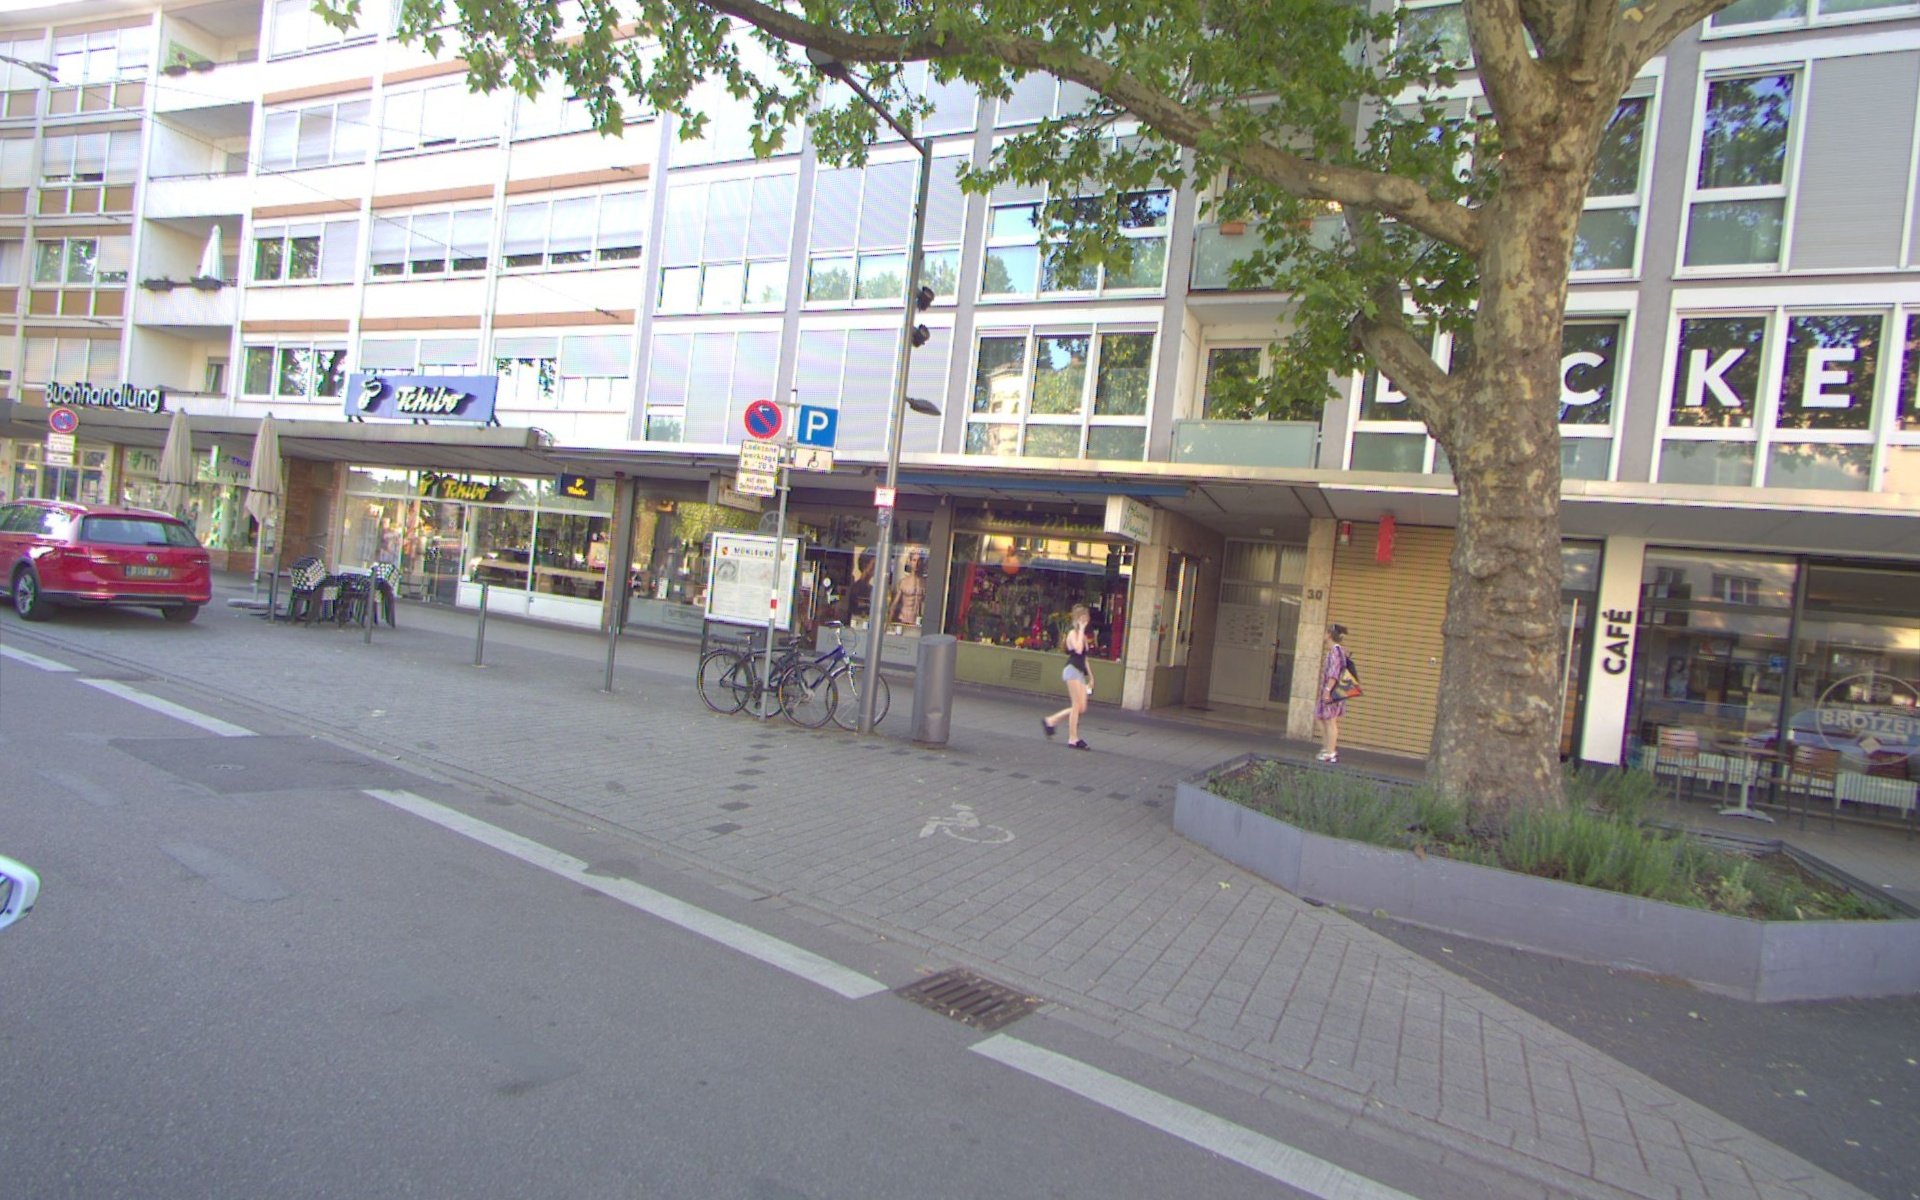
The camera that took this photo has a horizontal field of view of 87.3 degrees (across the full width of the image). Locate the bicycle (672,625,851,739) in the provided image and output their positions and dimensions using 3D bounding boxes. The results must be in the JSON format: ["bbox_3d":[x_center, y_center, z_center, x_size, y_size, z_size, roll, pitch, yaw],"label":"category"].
[{"bbox_3d":[-2.066,0.831,10.486,1.743,0.951,0.391,6,2,12],"label":"bicycle"}]

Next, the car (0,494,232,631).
[{"bbox_3d":[-12.073,-0.577,13.698,4.229,1.502,1.772,7,1,28],"label":"car"}]

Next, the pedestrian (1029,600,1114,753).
[{"bbox_3d":[1.250,0.837,11.235,0.631,1.596,0.560,7,1,26],"label":"pedestrian"}]

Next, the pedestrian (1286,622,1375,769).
[{"bbox_3d":[4.439,1.112,12.034,0.776,1.613,0.651,7,3,26],"label":"pedestrian"}]

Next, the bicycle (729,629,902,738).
[{"bbox_3d":[-1.557,0.875,10.815,1.743,0.931,0.391,6,2,12],"label":"bicycle"}]
